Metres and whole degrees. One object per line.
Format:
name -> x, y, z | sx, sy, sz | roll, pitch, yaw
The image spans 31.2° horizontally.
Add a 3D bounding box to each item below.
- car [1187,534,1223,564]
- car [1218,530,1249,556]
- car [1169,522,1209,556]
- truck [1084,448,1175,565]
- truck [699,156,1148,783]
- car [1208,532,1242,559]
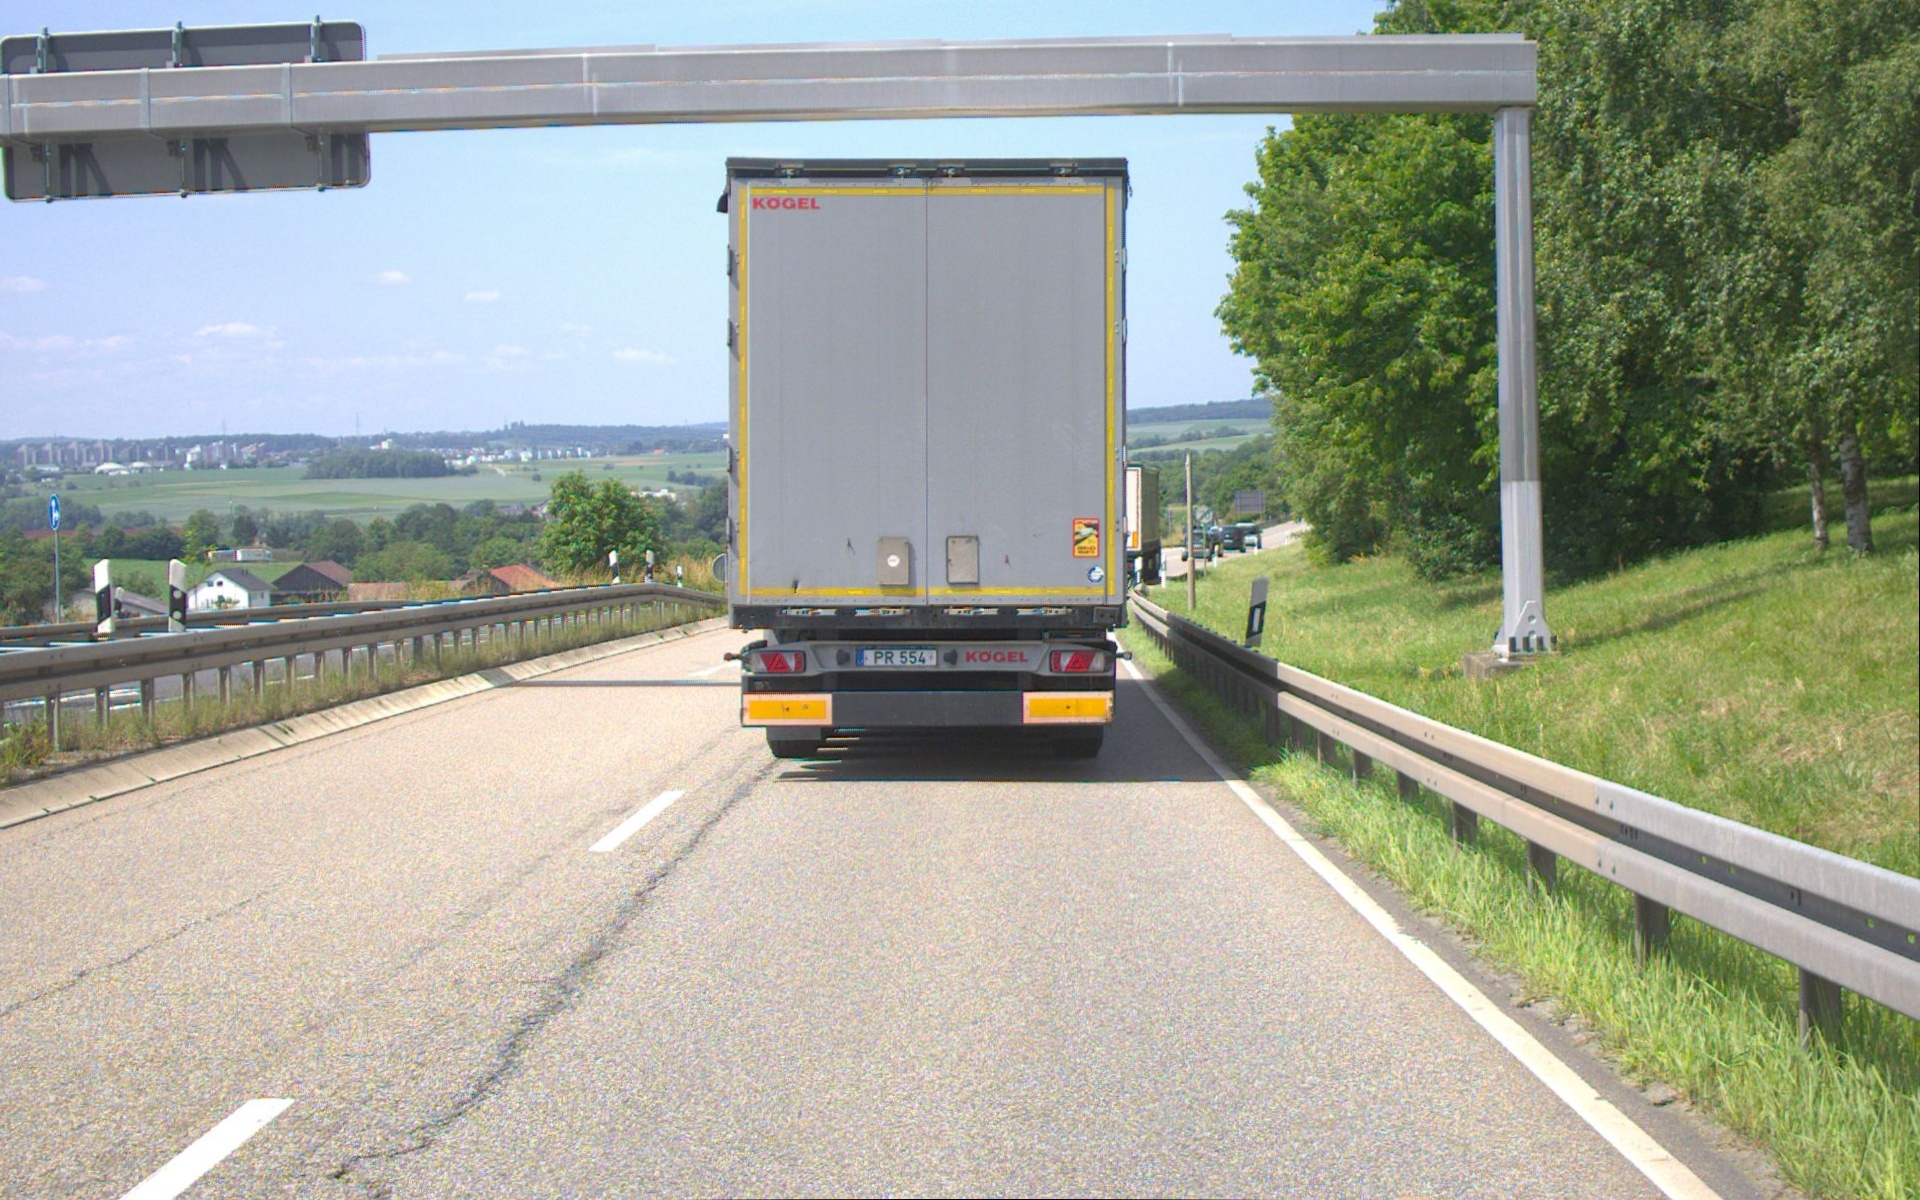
car -> 13.903, -2.899, 195.514 | 1.786, 1.682, 4.000 | 0, 0, 0
car -> 18.745, -3.890, 235.869 | 1.786, 1.682, 4.000 | 0, 0, 0
car -> 11.816, -3.140, 177.731 | 1.786, 1.682, 4.000 | 0, 0, 0
truck -> 5.899, -3.122, 118.317 | 2.656, 3.752, 10.160 | 0, 0, 5
truck -> -0.150, -0.925, 27.228 | 2.799, 3.916, 11.342 | 0, 1, 1
car -> 16.691, -3.432, 216.641 | 1.786, 1.682, 4.000 | 0, 0, 0
